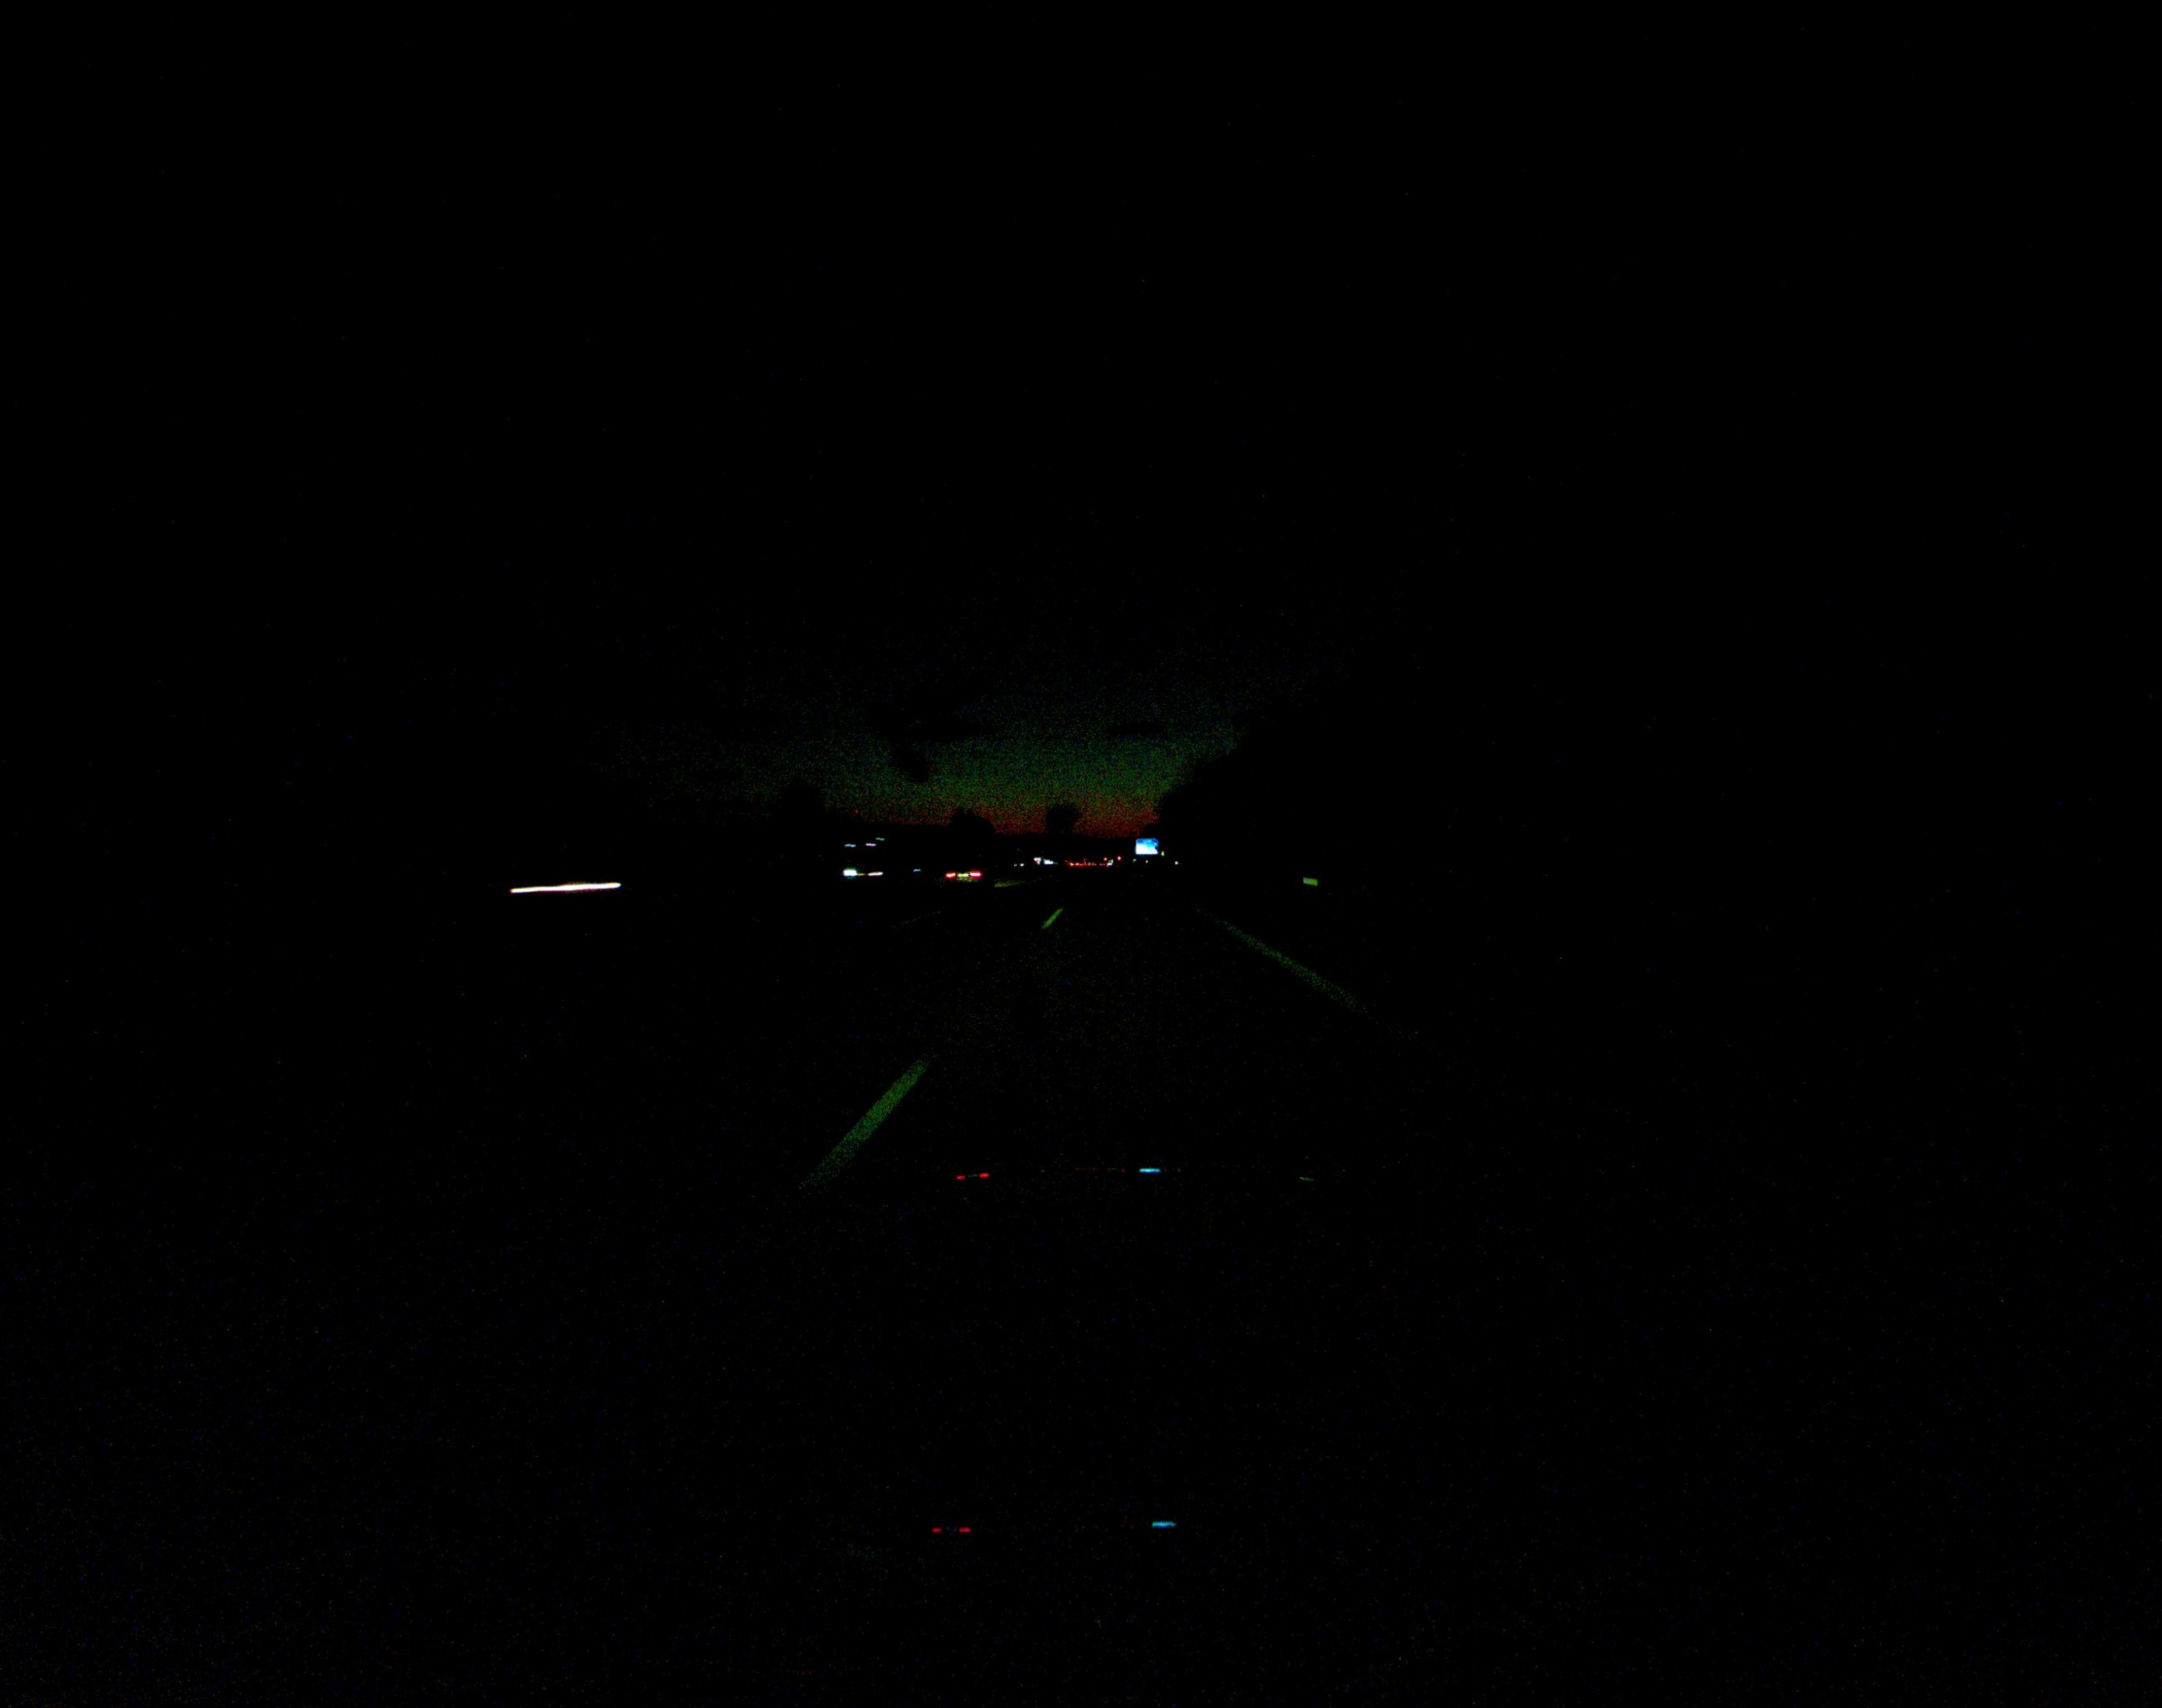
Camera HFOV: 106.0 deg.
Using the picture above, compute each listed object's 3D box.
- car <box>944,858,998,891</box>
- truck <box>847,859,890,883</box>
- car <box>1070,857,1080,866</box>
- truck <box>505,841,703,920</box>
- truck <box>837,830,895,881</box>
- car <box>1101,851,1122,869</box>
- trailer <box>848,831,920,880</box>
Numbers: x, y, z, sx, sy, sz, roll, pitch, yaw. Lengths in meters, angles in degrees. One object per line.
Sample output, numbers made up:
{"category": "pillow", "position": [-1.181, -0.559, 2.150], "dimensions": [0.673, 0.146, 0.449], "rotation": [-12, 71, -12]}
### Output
{"category": "car", "position": [-5.355, 0.973, 40.302], "dimensions": [1.773, 1.487, 5.256], "rotation": [0, 0, 2]}
{"category": "truck", "position": [-16.618, 1.285, 64.015], "dimensions": [2.027, 1.756, 4.764], "rotation": [-1, 0, 1]}
{"category": "car", "position": [-1.421, 1.697, 187.233], "dimensions": [2.188, 1.955, 4.636], "rotation": [0, 0, 2]}
{"category": "truck", "position": [-18.128, 0.903, 31.764], "dimensions": [2.862, 2.641, 7.889], "rotation": [-1, 0, 2]}
{"category": "truck", "position": [-19.979, 0.108, 76.068], "dimensions": [3.313, 4.433, 6.710], "rotation": [-2, 0, 2]}
{"category": "car", "position": [3.690, 0.688, 97.162], "dimensions": [2.187, 1.955, 4.768], "rotation": [-3, 0, 4]}
{"category": "trailer", "position": [-19.739, 0.114, 82.789], "dimensions": [3.312, 4.433, 14.030], "rotation": [-2, 0, 2]}
